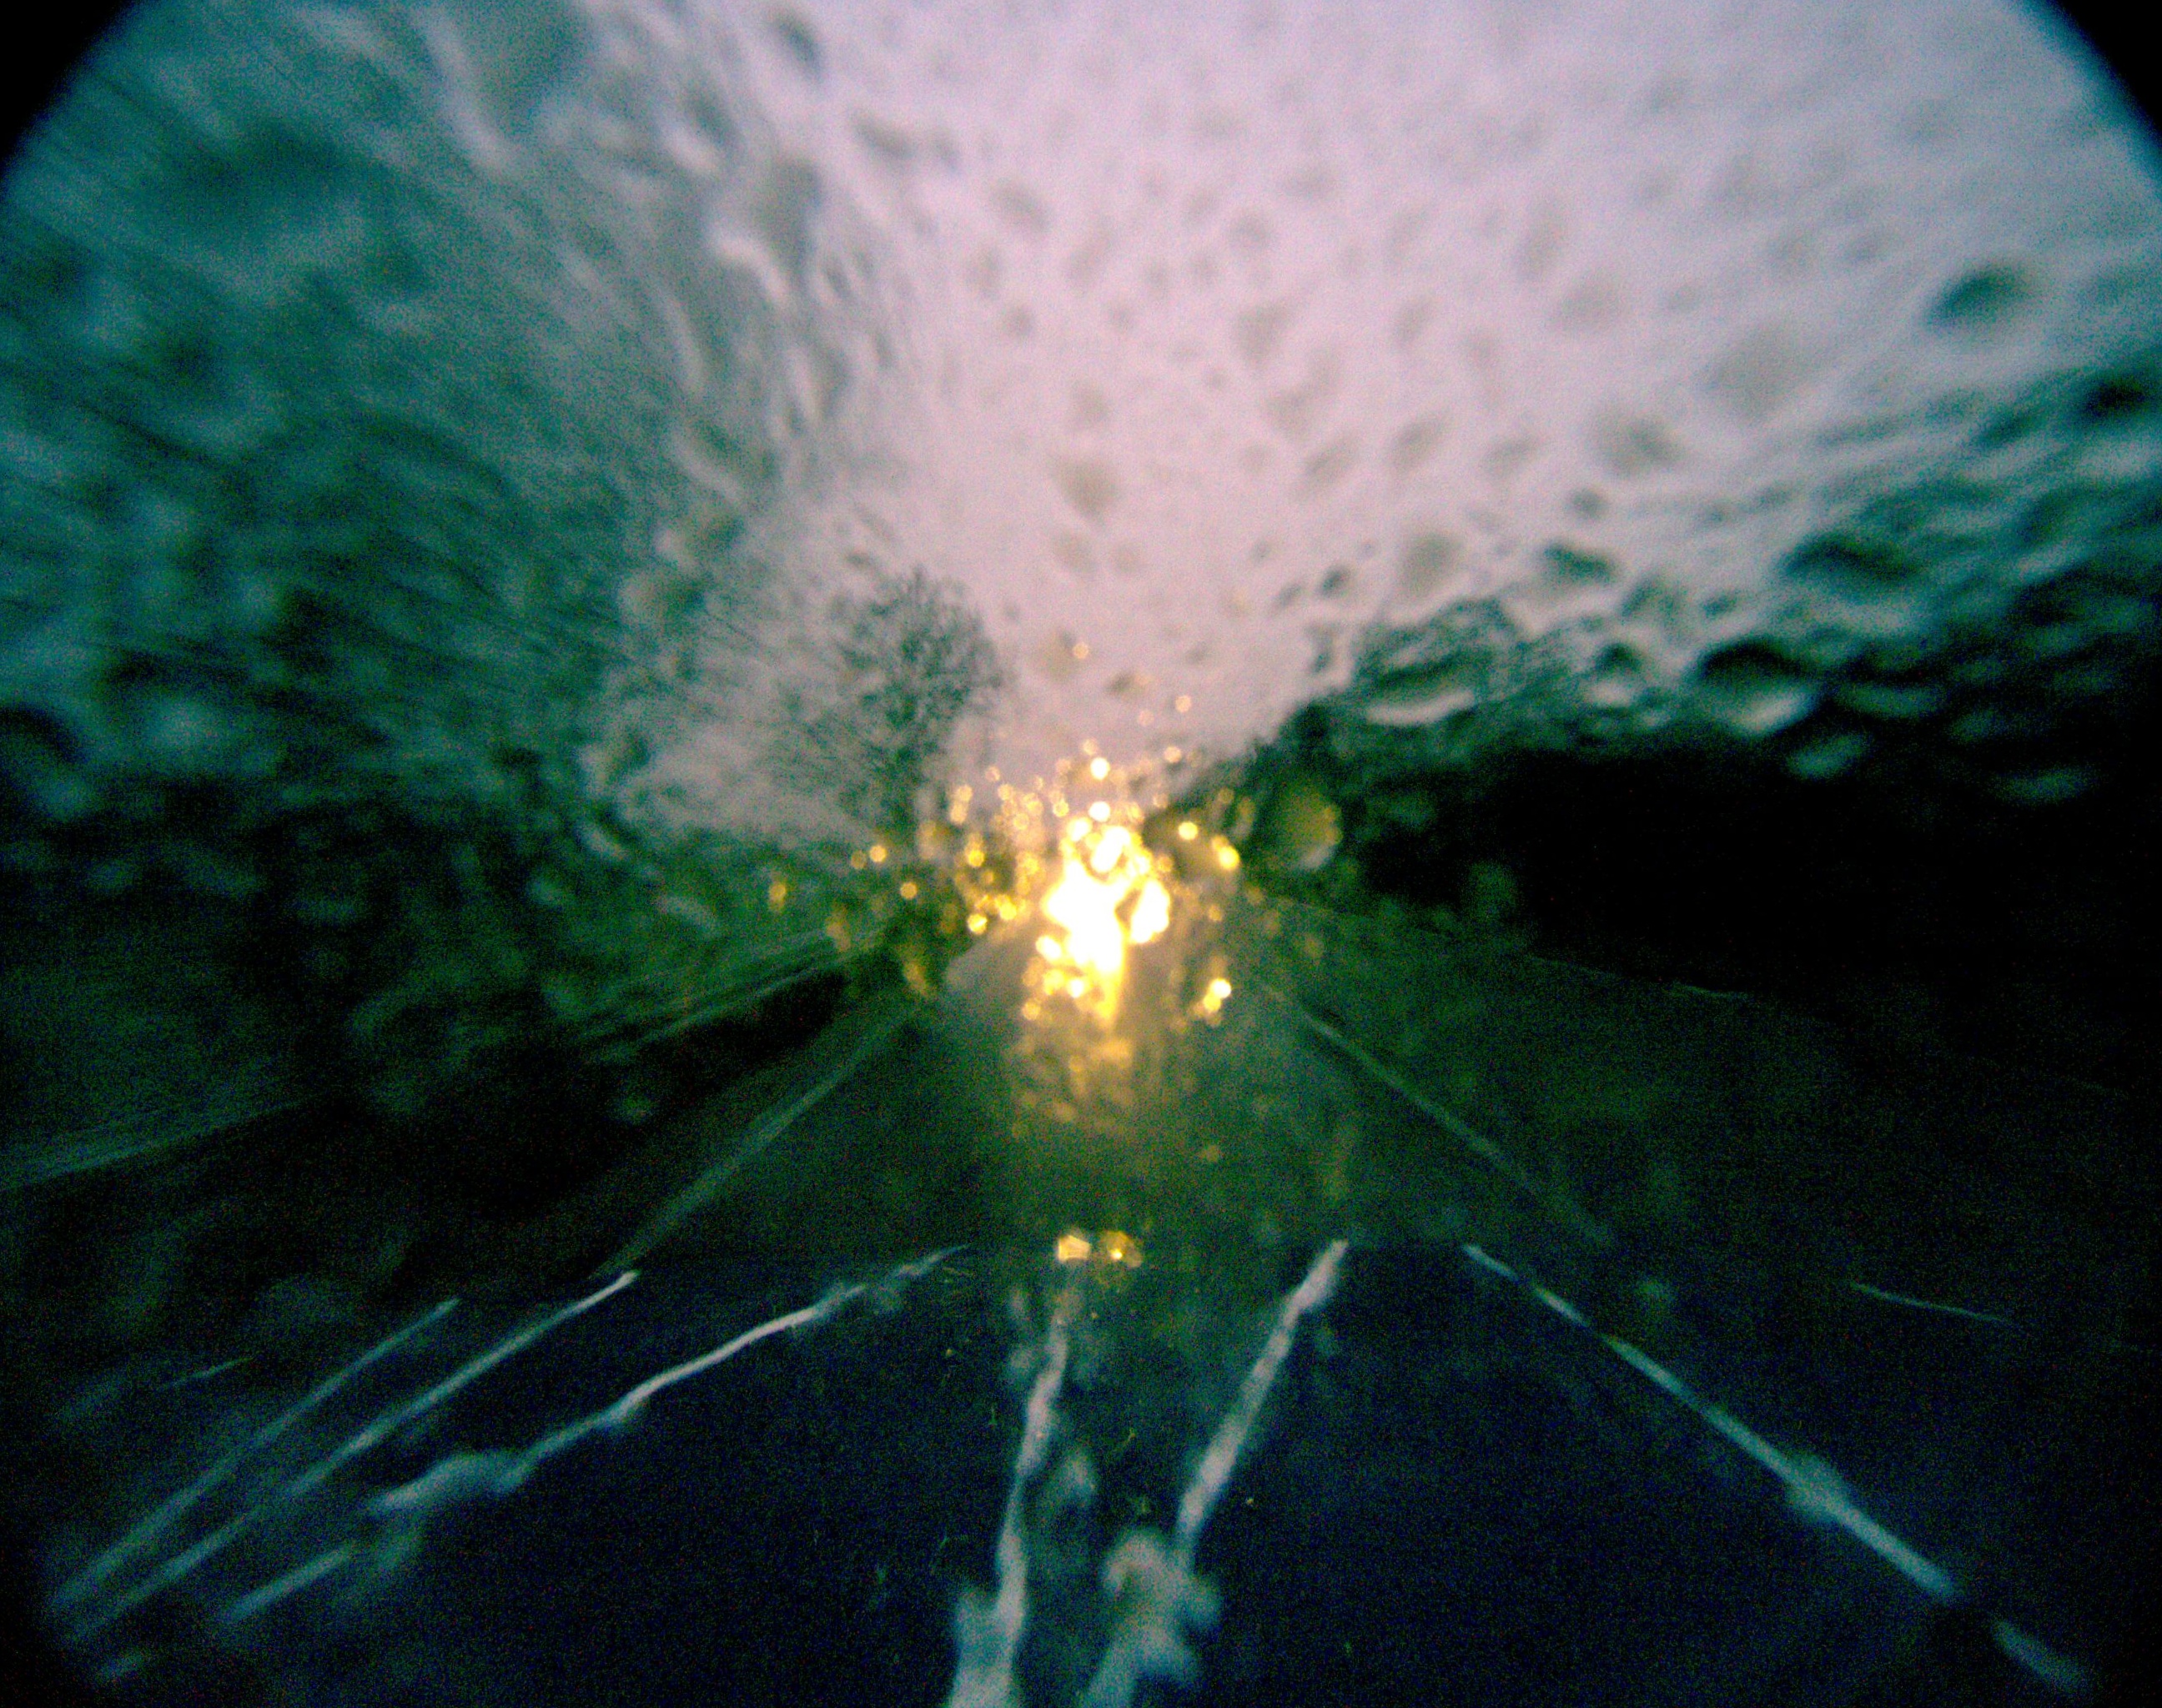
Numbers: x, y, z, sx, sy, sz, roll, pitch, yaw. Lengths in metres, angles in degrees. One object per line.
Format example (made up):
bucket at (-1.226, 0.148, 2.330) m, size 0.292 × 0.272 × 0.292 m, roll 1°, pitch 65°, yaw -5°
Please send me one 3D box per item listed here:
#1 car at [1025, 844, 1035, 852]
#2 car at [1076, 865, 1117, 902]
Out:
car at (-11.519, -1.345, 170.614) m, size 1.911 × 1.653 × 3.997 m, roll -3°, pitch 1°, yaw -6°
car at (0.757, 1.434, 37.553) m, size 1.910 × 1.652 × 4.000 m, roll -1°, pitch 0°, yaw 1°
